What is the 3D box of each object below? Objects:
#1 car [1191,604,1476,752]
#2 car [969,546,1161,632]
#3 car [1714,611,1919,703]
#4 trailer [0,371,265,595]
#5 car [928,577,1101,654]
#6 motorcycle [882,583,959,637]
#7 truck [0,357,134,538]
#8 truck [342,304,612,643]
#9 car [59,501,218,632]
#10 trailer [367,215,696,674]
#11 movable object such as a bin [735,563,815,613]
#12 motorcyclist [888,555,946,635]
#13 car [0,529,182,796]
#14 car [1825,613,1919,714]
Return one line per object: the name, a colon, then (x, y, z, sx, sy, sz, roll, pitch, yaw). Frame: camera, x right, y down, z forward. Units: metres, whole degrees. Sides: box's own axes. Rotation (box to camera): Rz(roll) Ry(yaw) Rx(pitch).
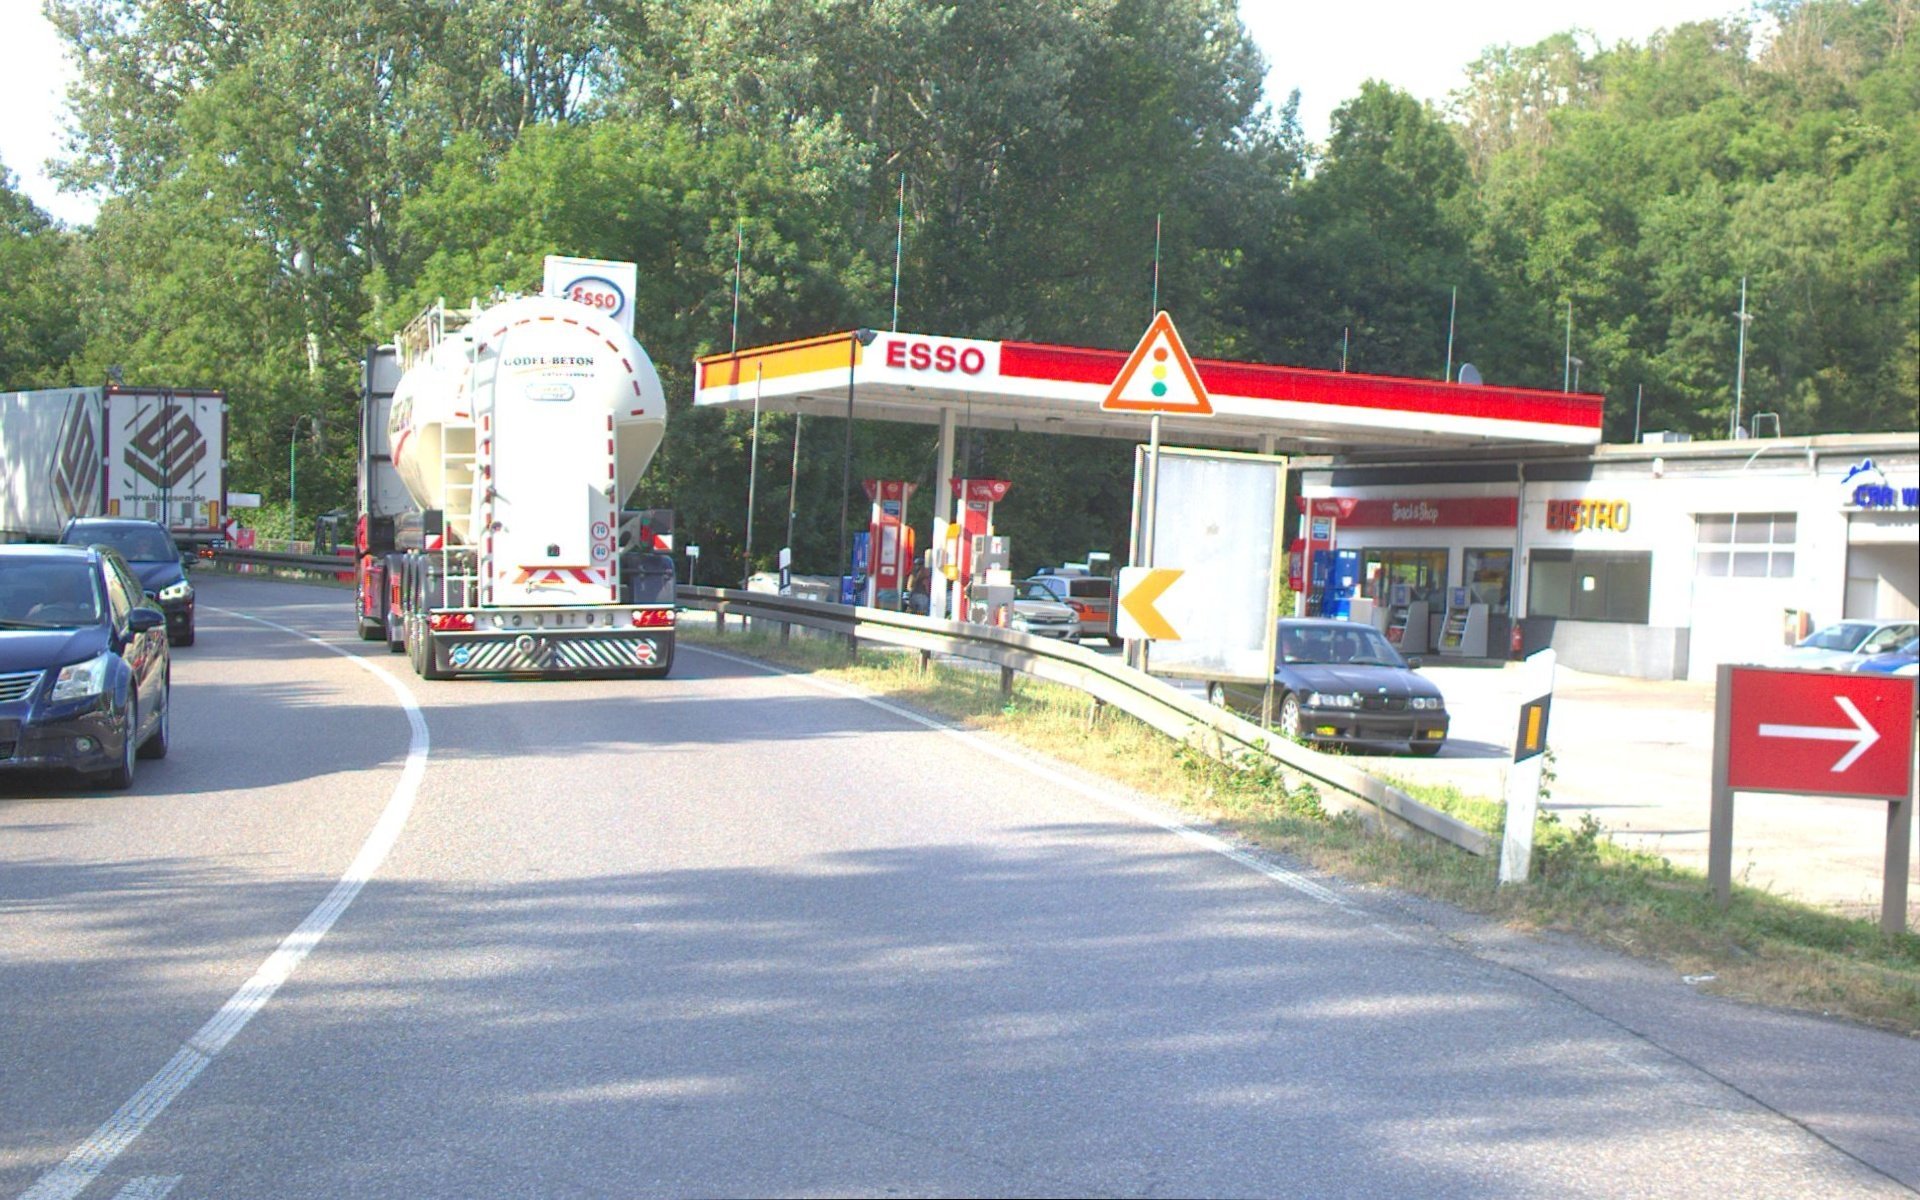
car: (3.982, 0.810, 37.408, 1.823, 1.348, 4.274, 2, 1, -12)
car: (2.184, -0.254, 73.512, 2.092, 1.622, 5.182, 2, 1, -23)
car: (13.976, 0.893, 53.823, 3.956, 1.350, 1.777, 1, 1, -26)
trailer: (-19.031, -2.462, 75.849, 3.545, 4.497, 12.985, 1, 1, -29)
car: (1.040, 0.283, 68.164, 1.842, 1.315, 4.391, 2, 1, -21)
motorcycle: (-0.831, 0.199, 71.187, 0.761, 1.008, 2.342, 2, 1, -22)
truck: (-22.301, -3.549, 81.887, 3.450, 4.072, 6.491, 1, 1, -29)
truck: (-6.283, -1.578, 43.999, 2.823, 4.021, 5.896, 0, 1, -14)
car: (-10.474, -0.460, 44.008, 1.867, 1.584, 4.250, -1, 1, -12)
trailer: (-4.978, -1.616, 38.279, 2.886, 4.439, 9.609, 0, 1, -12)
movable object such as a bin: (-5.933, -0.383, 110.095, 1.266, 1.415, 2.557, 6, -1, -36)
motorcyclist: (-0.899, -0.114, 71.410, 0.858, 1.599, 0.928, 3, 1, -22)
car: (-6.059, 0.318, 21.789, 1.850, 1.503, 4.405, 0, 1, -8)
car: (14.950, 0.985, 51.396, 3.549, 1.401, 1.691, 2, 1, -22)
